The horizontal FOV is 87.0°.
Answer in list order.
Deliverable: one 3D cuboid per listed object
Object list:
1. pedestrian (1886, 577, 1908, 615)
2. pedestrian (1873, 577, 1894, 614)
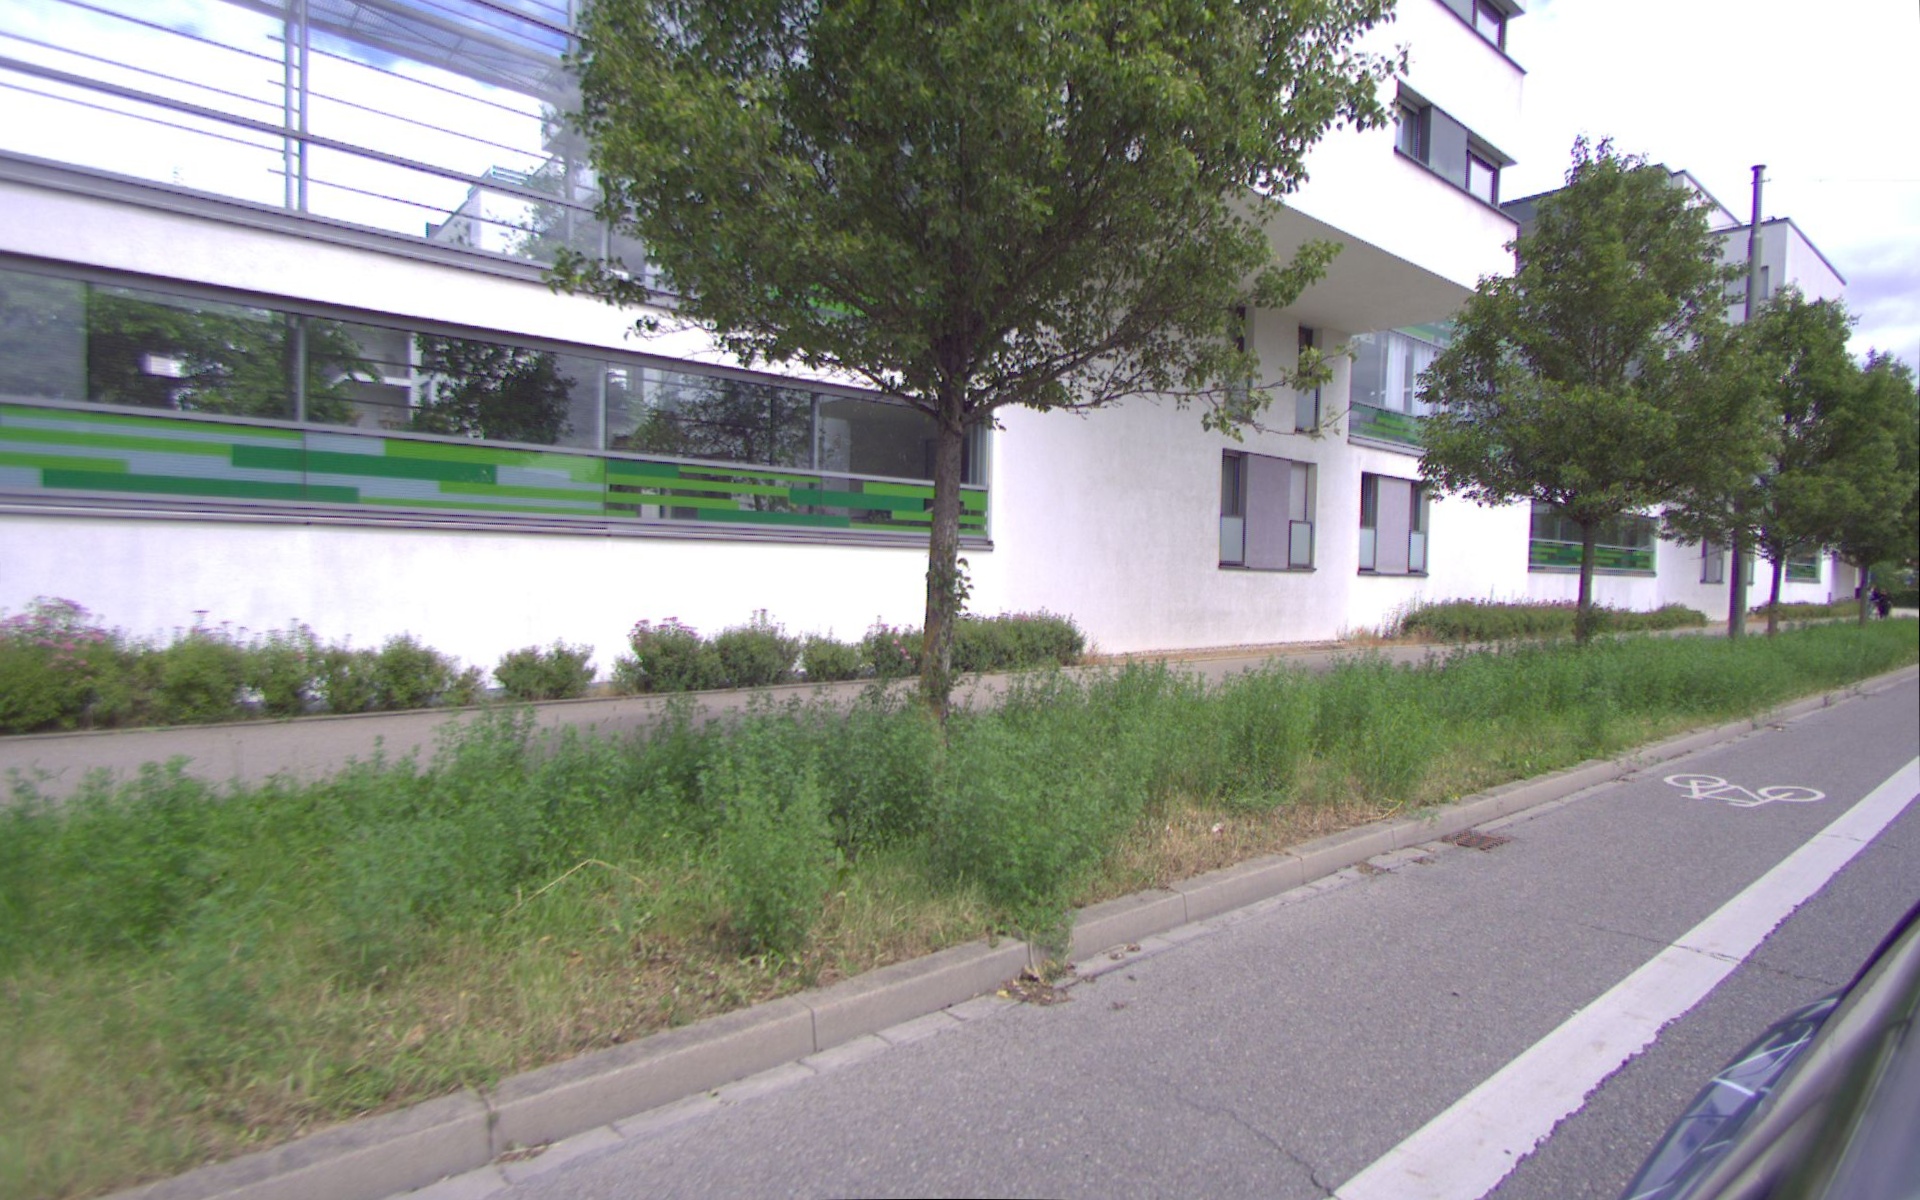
[{"bbox_3d":[47.220,-0.220,51.005,0.690,1.910,0.740,-1,1,-43],"label":"pedestrian"},{"bbox_3d":[47.207,-0.223,51.746,0.613,1.864,0.584,0,0,23],"label":"pedestrian"}]
